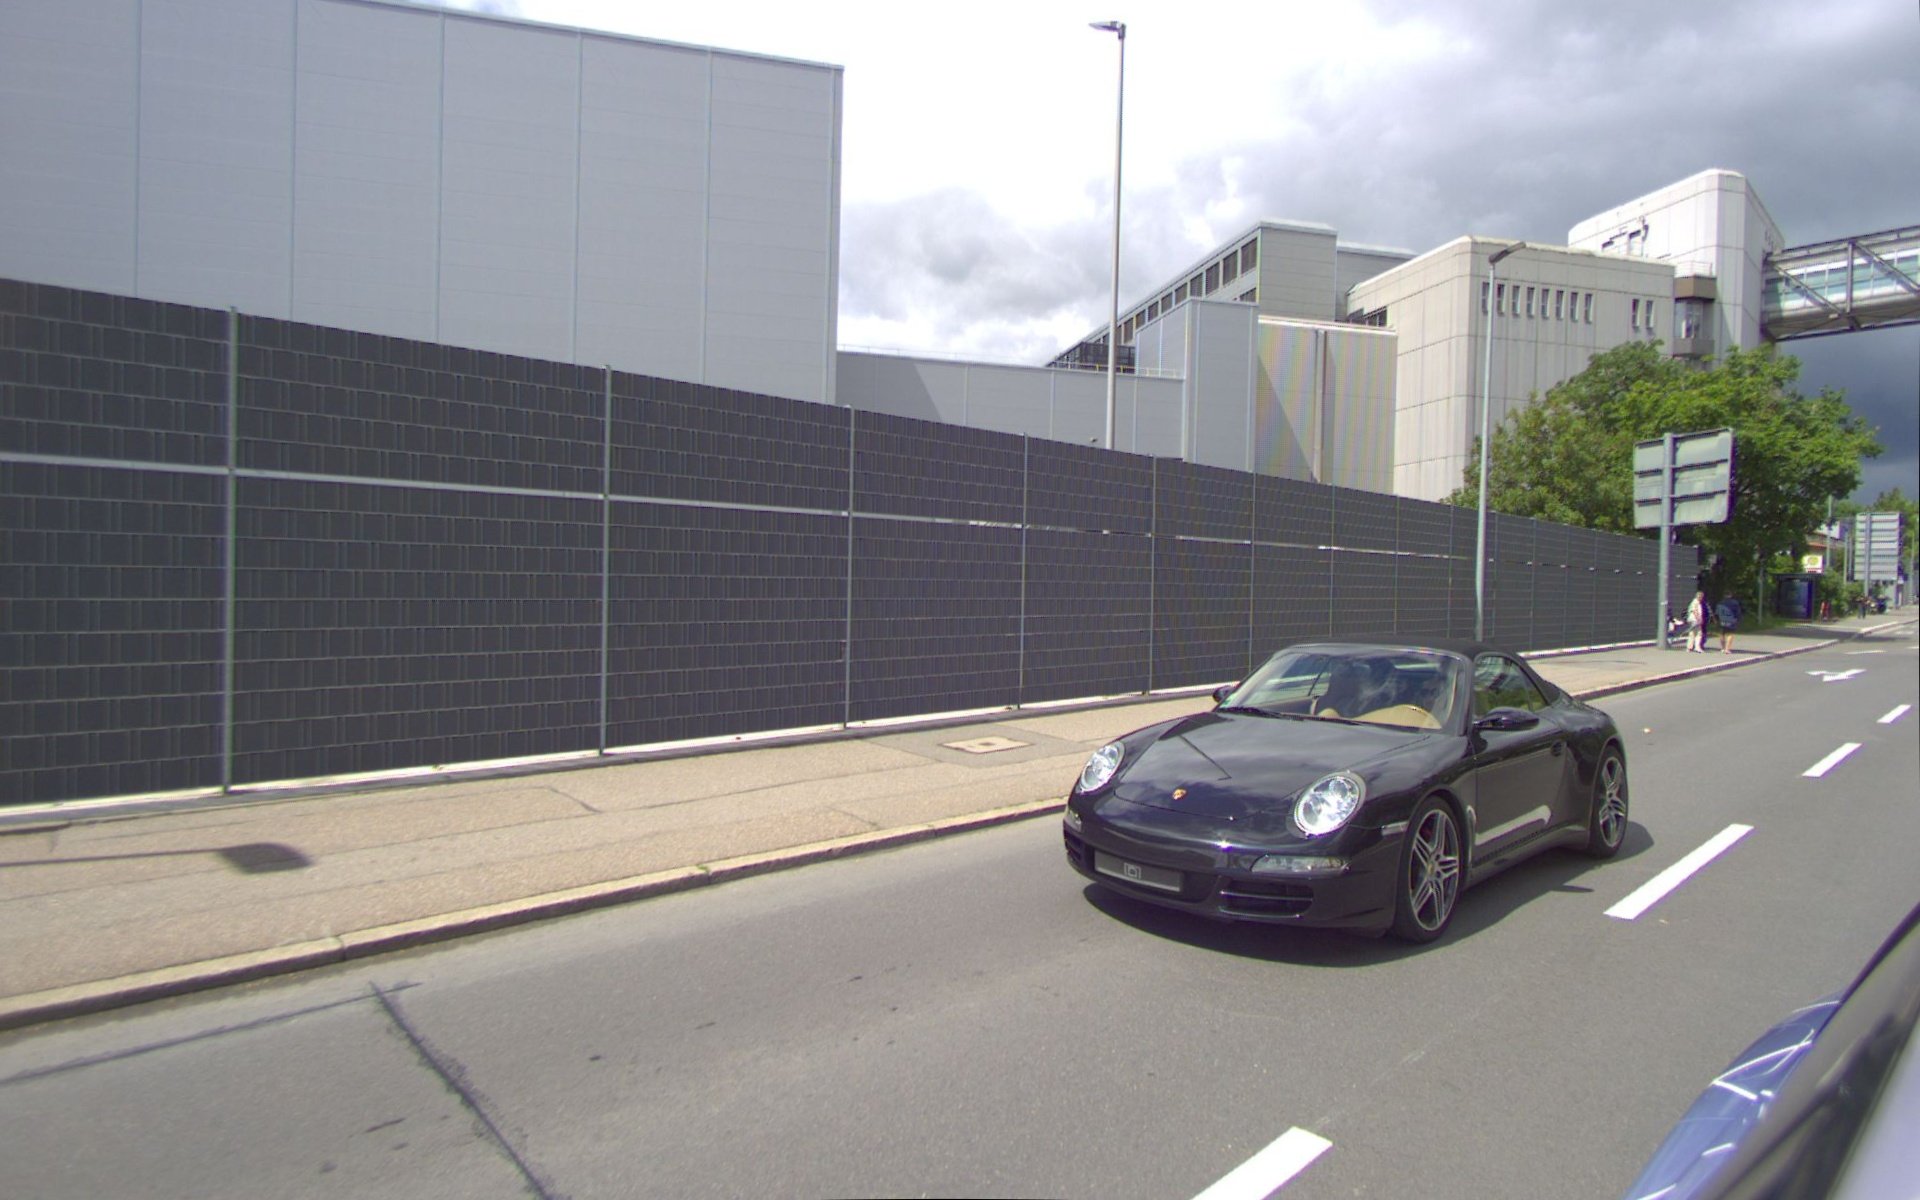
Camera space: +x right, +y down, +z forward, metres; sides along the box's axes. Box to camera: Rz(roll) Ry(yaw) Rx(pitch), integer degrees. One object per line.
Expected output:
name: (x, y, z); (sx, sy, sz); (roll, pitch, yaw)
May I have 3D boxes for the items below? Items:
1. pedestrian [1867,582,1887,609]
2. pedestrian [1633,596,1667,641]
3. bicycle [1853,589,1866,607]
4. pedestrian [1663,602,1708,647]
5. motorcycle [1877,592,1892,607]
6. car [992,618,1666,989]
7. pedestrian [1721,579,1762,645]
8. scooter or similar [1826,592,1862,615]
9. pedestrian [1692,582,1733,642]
pedestrian: (57.541, -0.284, 63.488); (0.981, 1.665, 0.810); (-1, 3, -44)
pedestrian: (18.966, 0.498, 27.834); (0.704, 1.222, 0.598); (-1, 0, -40)
bicycle: (60.145, -0.127, 67.653); (2.427, 1.195, 0.443); (-1, 1, -43)
pedestrian: (19.620, 0.650, 27.371); (0.954, 1.163, 0.759); (-1, 0, -39)
motorcycle: (68.224, -0.056, 74.679); (2.003, 1.080, 0.591); (0, 3, -43)
car: (2.243, 0.785, 5.665); (3.928, 1.342, 1.837); (1, -2, -40)
pedestrian: (20.849, 0.312, 27.002); (0.794, 1.742, 0.720); (0, 0, 44)
scooter or similar: (46.684, 0.201, 53.448); (1.754, 1.177, 0.544); (1, 1, -15)
pedestrian: (20.877, 0.325, 28.074); (0.720, 1.617, 0.795); (-1, 0, -44)
